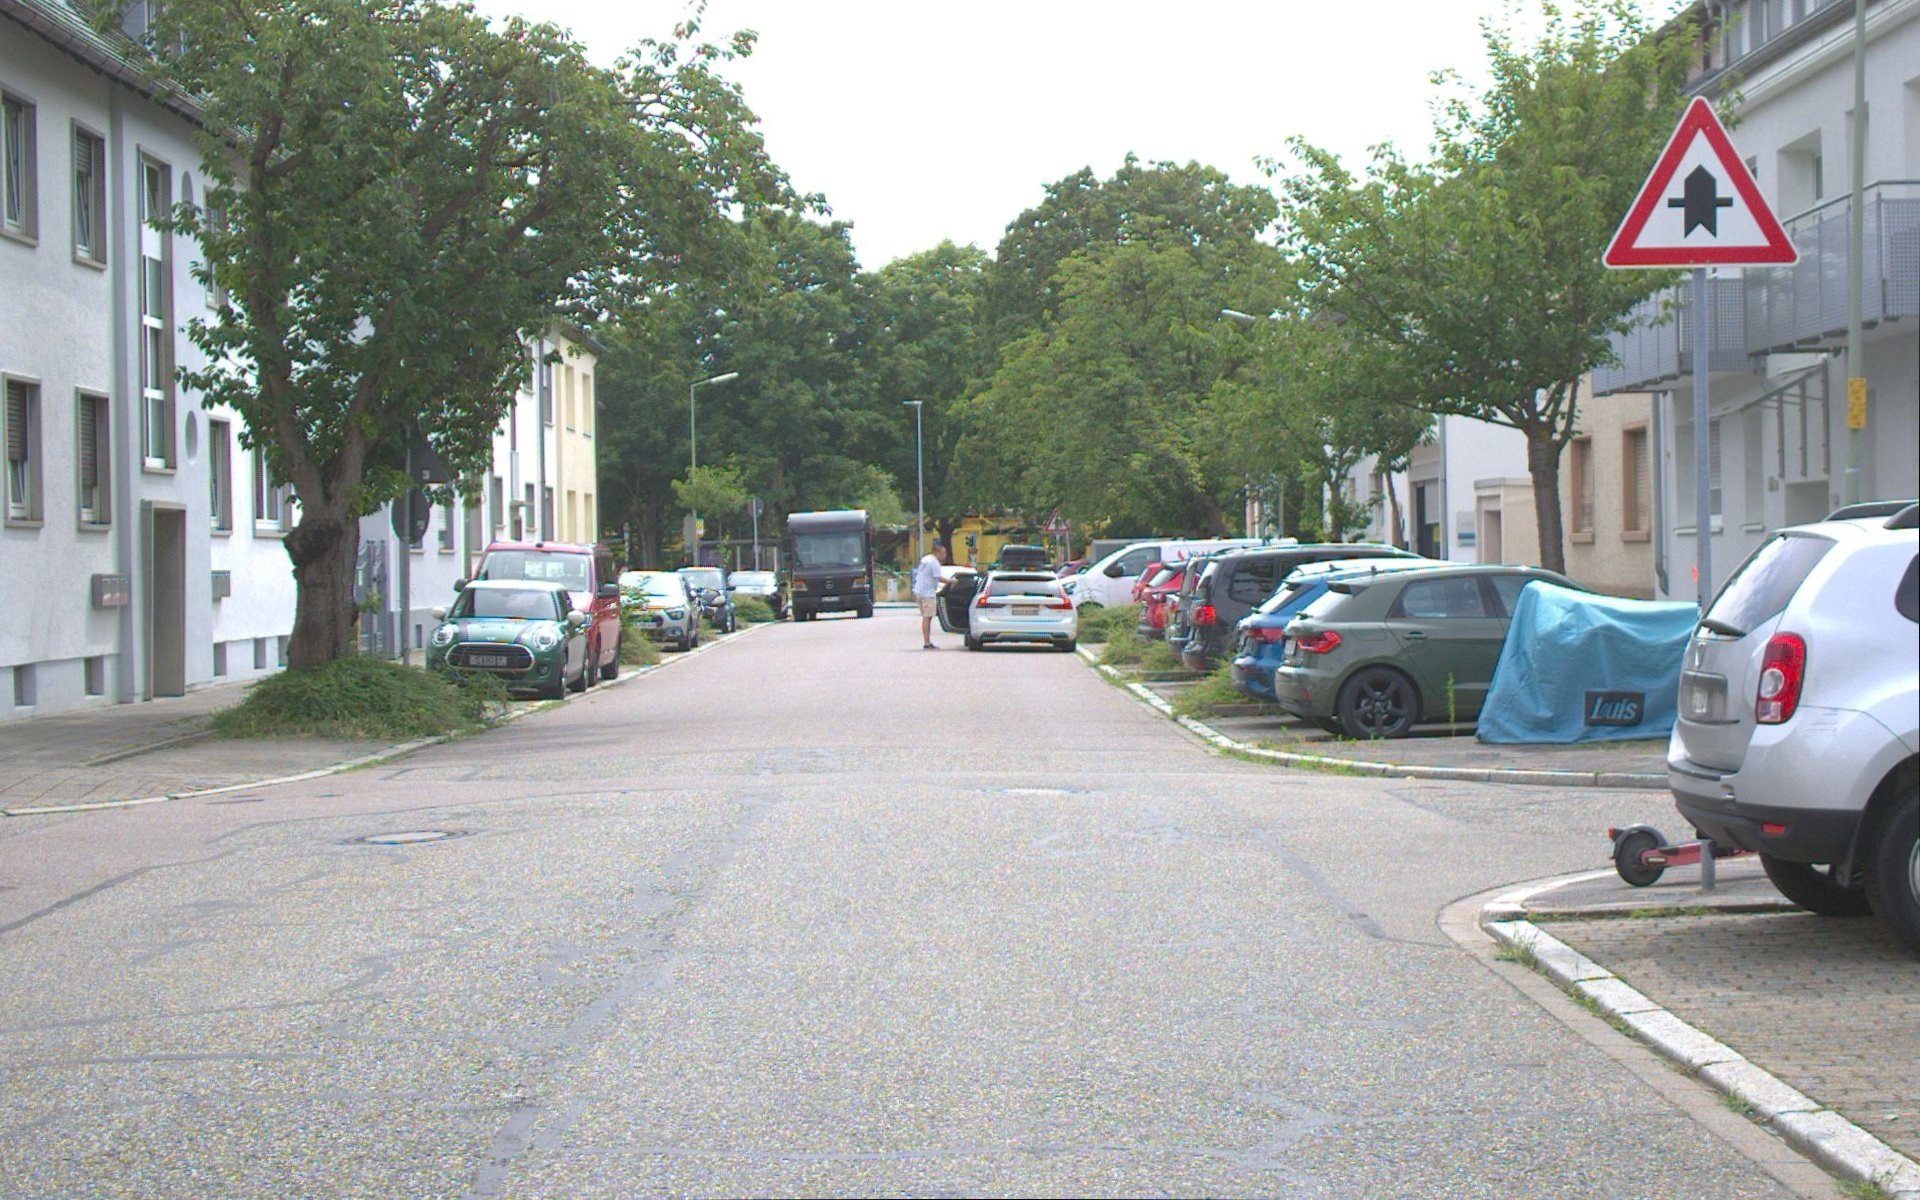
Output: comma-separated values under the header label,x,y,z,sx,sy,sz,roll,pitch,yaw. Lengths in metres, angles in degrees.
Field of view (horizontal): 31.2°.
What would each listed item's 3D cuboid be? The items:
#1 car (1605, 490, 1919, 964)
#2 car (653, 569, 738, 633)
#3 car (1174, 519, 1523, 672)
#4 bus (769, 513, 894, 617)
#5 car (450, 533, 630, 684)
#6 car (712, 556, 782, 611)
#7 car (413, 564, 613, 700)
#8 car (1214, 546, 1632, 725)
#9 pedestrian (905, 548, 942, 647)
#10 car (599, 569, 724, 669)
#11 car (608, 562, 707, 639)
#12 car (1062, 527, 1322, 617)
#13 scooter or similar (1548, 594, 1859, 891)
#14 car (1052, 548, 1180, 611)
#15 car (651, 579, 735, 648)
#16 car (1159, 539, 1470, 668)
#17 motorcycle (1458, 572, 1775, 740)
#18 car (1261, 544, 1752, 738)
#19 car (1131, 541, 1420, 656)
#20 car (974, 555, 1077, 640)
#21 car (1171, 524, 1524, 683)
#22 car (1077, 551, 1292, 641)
label,x,y,z,sx,sy,sz,roll,pitch,yaw
car,4.639,0.349,13.037,3.923,1.627,1.868,-3,1,-2
car,-6.148,0.011,80.153,1.651,1.372,3.722,-3,1,0
car,4.686,-0.061,41.923,3.987,1.612,1.867,-3,1,1
bus,-3.682,-1.039,100.378,3.004,2.752,8.924,-3,1,1
car,-5.896,0.089,48.766,1.993,2.007,4.521,-1,1,0
car,-6.168,-0.497,99.763,1.621,1.497,4.000,-3,1,1
car,-5.610,0.372,43.543,1.763,1.549,3.730,-3,1,3
car,4.150,0.306,31.181,3.517,1.407,1.559,-3,1,1
pedestrian,-0.640,-0.048,59.919,0.522,1.698,0.444,-3,0,4
car,-4.745,0.282,54.975,1.651,1.456,3.552,-3,1,0
car,-5.832,-0.006,66.562,1.651,1.372,3.722,-3,1,-2
car,4.617,-0.558,68.899,4.975,1.513,1.769,-3,1,-1
scooter or similar,3.327,0.624,15.400,1.238,1.239,0.422,-3,1,-12
car,4.421,-0.594,97.941,3.530,1.597,1.773,-3,1,1
car,-5.534,0.264,71.624,1.538,1.297,3.722,-3,1,-2
car,4.788,0.044,46.777,3.987,1.513,1.722,-3,1,0
motorcycle,4.966,0.414,26.112,2.193,1.206,0.940,-1,1,-2
car,4.468,0.318,28.517,3.747,1.361,1.773,-3,1,1
car,4.551,-0.024,50.000,3.987,1.434,1.722,-3,1,0
car,1.159,-0.066,60.545,1.687,1.349,3.826,-3,1,1
car,4.334,0.026,38.912,3.747,1.559,1.773,-3,1,1
car,4.319,-0.079,66.615,3.987,1.513,1.722,-3,1,0
